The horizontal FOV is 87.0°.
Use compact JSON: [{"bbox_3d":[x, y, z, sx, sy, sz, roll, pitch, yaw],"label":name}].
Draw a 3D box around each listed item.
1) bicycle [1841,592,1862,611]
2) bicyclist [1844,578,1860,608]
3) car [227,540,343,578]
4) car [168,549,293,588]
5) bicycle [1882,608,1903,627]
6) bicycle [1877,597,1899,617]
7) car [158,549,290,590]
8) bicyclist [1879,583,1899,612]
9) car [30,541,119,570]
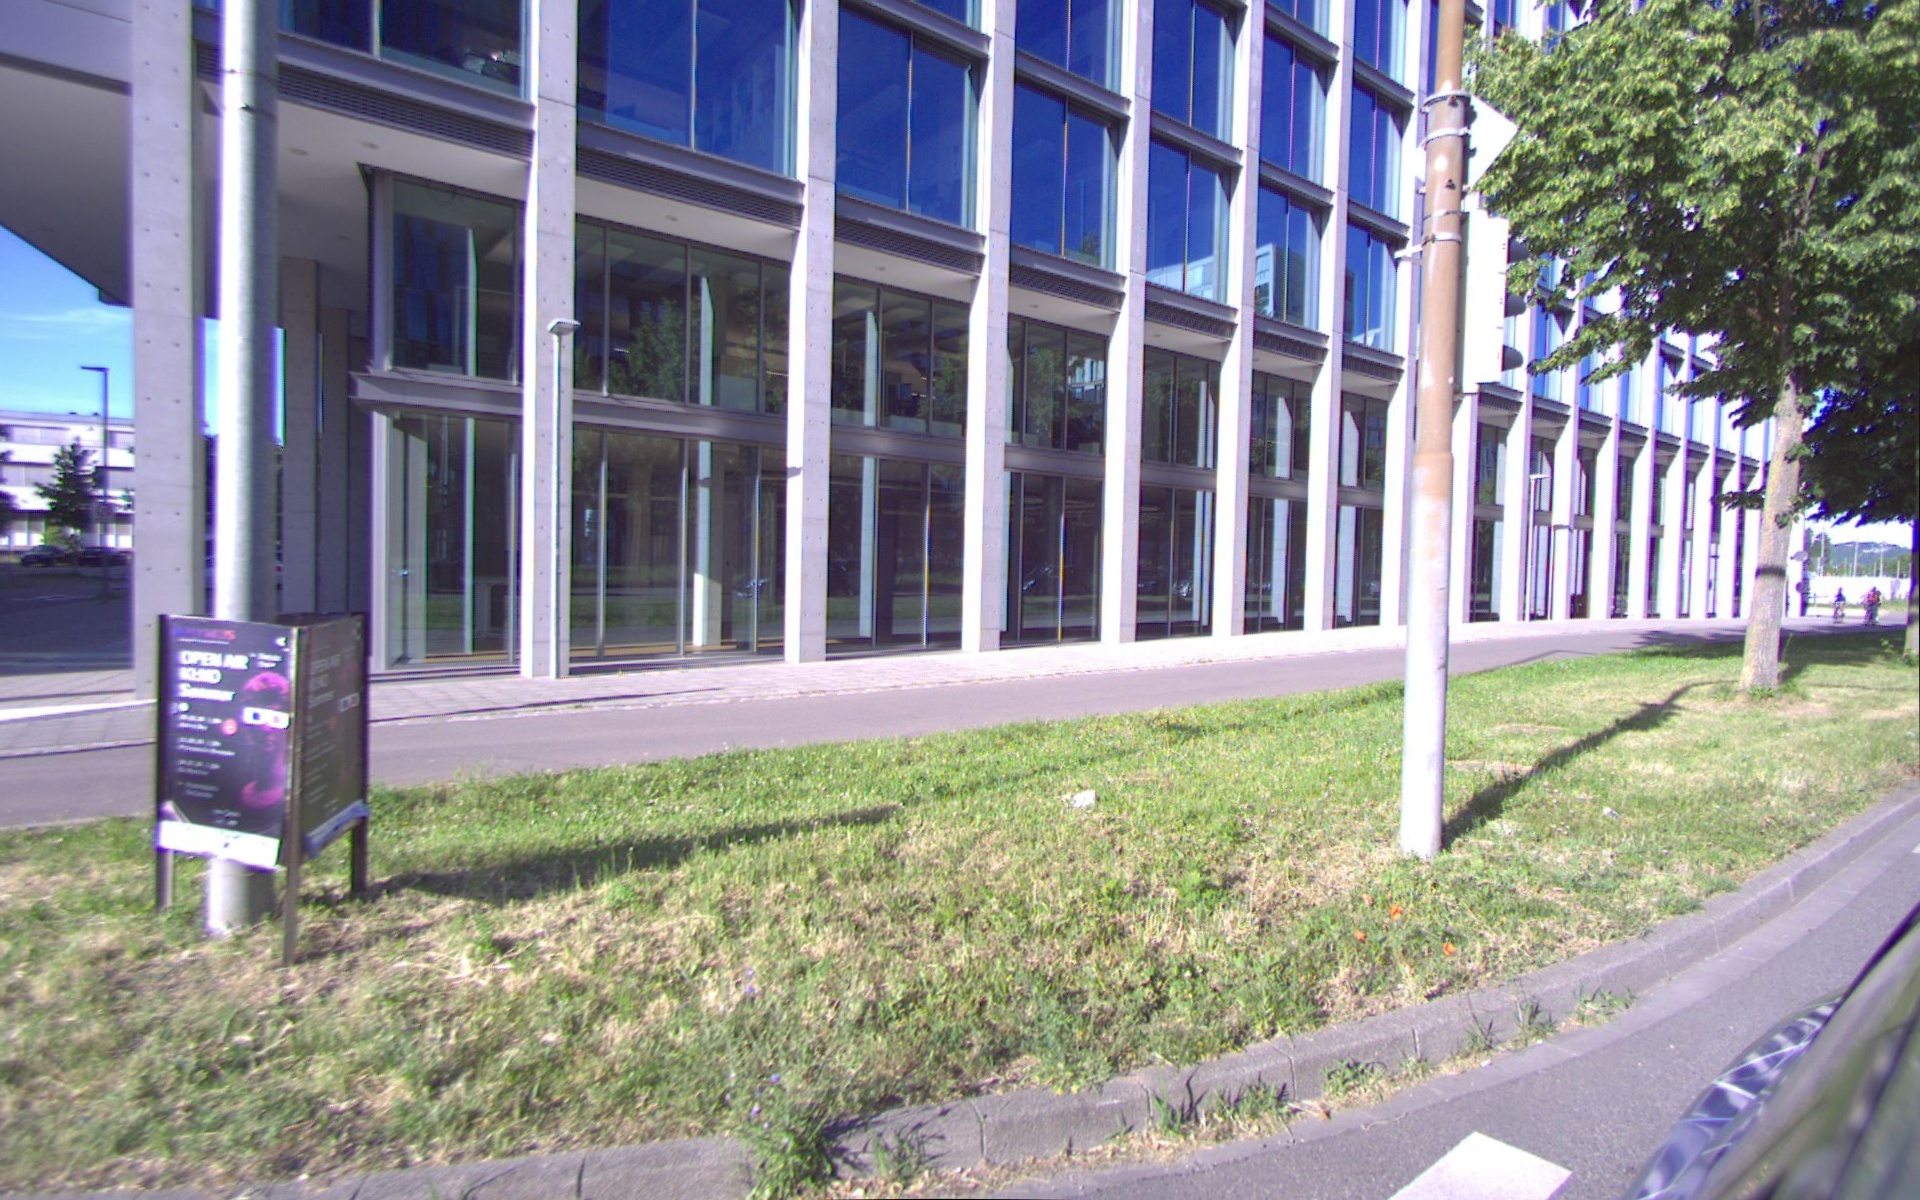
[{"bbox_3d":[38.965,0.063,44.228,1.295,0.828,0.415,-1,2,-37],"label":"bicycle"},{"bbox_3d":[39.002,-0.322,44.254,0.410,1.305,0.448,-1,1,-37],"label":"bicyclist"},{"bbox_3d":[-32.423,-1.948,48.759,4.366,1.749,1.797,0,2,-24],"label":"car"},{"bbox_3d":[-29.907,-1.302,41.620,3.917,1.523,1.663,0,2,-26],"label":"car"},{"bbox_3d":[42.967,0.783,46.624,1.320,0.828,0.464,-1,2,-37],"label":"bicycle"},{"bbox_3d":[39.703,0.281,43.287,1.320,0.828,0.464,-1,2,-37],"label":"bicycle"},{"bbox_3d":[-28.659,-1.178,39.528,3.917,1.523,1.663,0,2,-26],"label":"car"},{"bbox_3d":[39.719,-0.100,43.292,0.498,1.232,0.535,-1,2,-37],"label":"bicyclist"},{"bbox_3d":[-58.837,-2.948,67.317,4.043,1.816,1.873,0,2,-24],"label":"car"}]
